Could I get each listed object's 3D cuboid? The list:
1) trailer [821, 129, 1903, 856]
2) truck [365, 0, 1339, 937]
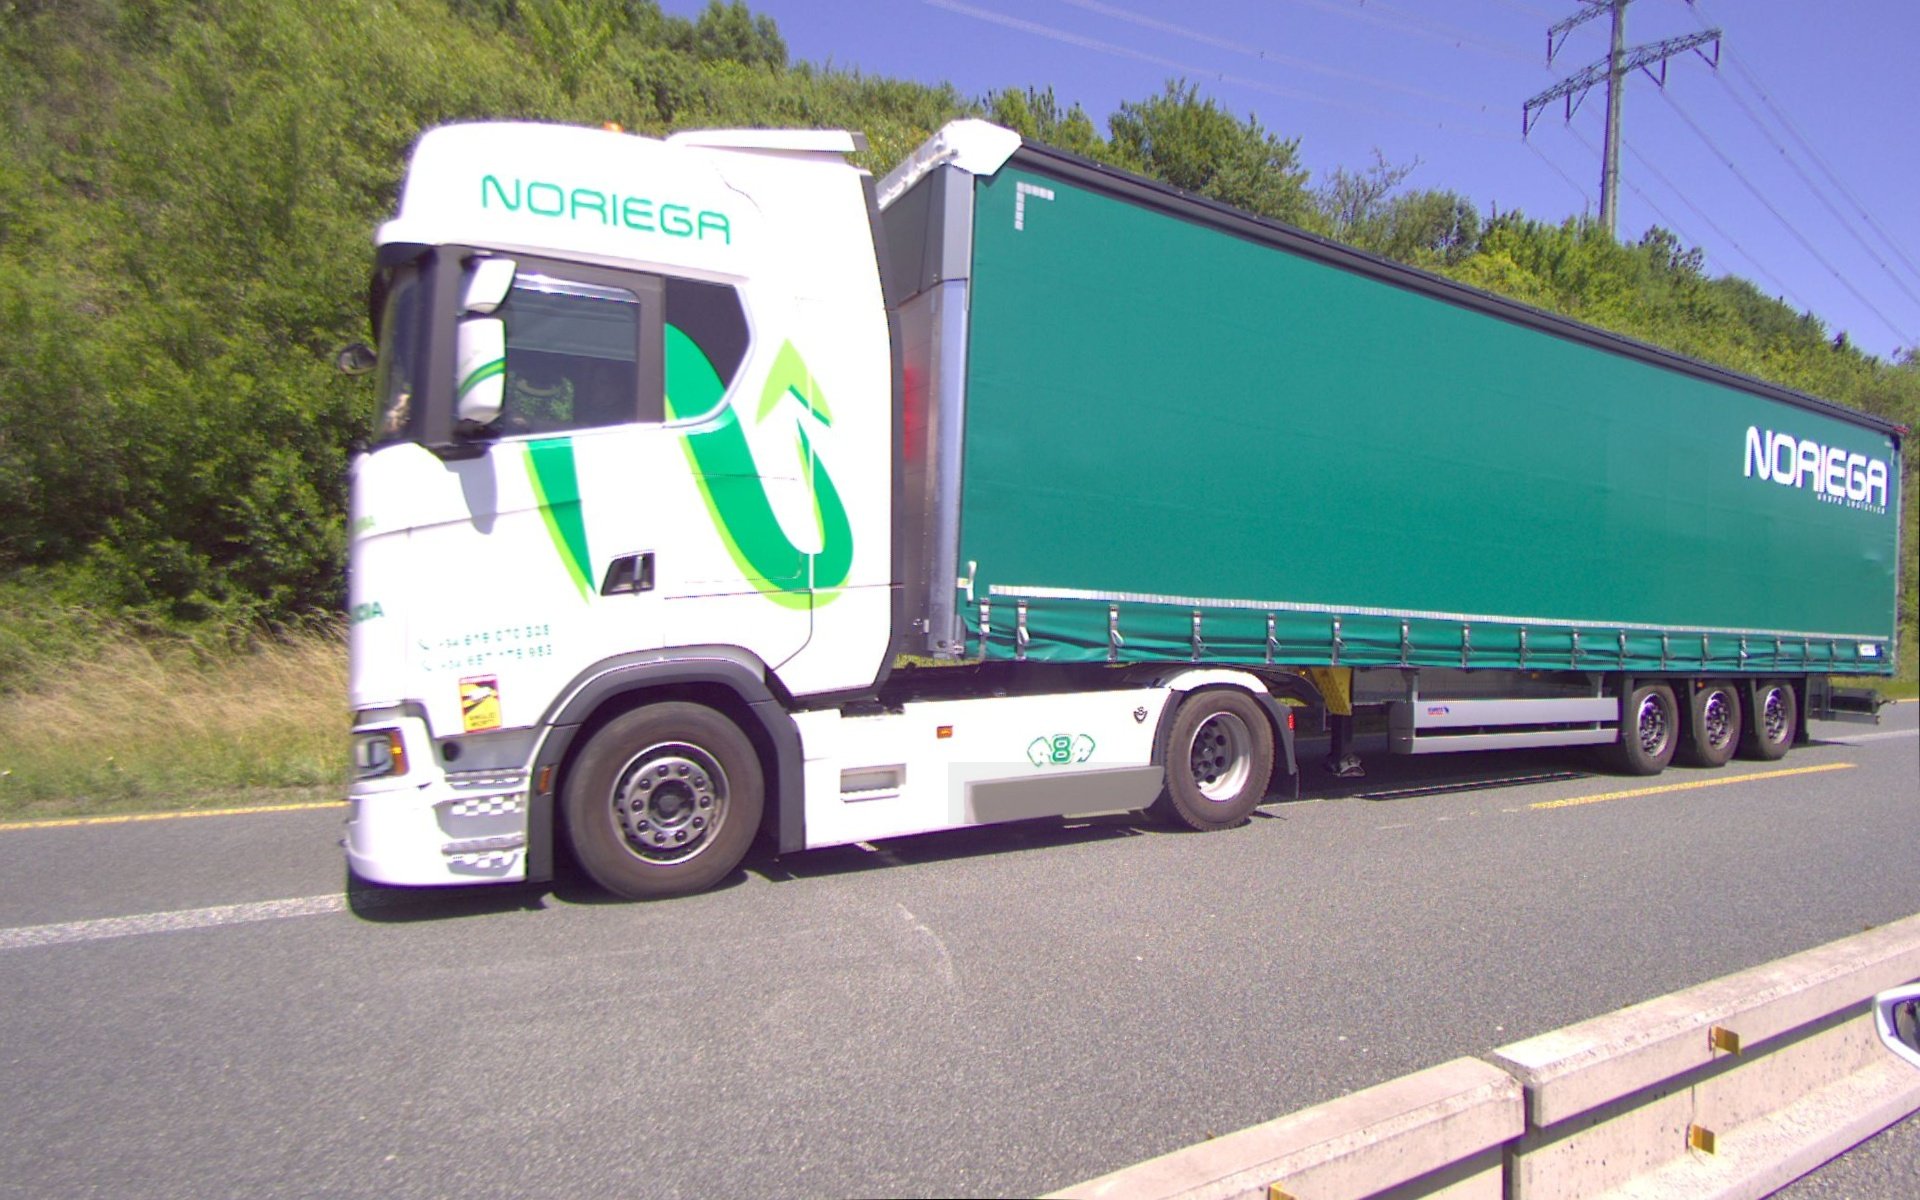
[{"bbox_3d":[5.242,-0.486,10.350,13.088,4.180,2.878,1,0,-30],"label":"trailer"},{"bbox_3d":[-0.577,-0.613,6.953,5.949,4.173,2.881,1,-1,-30],"label":"truck"}]
